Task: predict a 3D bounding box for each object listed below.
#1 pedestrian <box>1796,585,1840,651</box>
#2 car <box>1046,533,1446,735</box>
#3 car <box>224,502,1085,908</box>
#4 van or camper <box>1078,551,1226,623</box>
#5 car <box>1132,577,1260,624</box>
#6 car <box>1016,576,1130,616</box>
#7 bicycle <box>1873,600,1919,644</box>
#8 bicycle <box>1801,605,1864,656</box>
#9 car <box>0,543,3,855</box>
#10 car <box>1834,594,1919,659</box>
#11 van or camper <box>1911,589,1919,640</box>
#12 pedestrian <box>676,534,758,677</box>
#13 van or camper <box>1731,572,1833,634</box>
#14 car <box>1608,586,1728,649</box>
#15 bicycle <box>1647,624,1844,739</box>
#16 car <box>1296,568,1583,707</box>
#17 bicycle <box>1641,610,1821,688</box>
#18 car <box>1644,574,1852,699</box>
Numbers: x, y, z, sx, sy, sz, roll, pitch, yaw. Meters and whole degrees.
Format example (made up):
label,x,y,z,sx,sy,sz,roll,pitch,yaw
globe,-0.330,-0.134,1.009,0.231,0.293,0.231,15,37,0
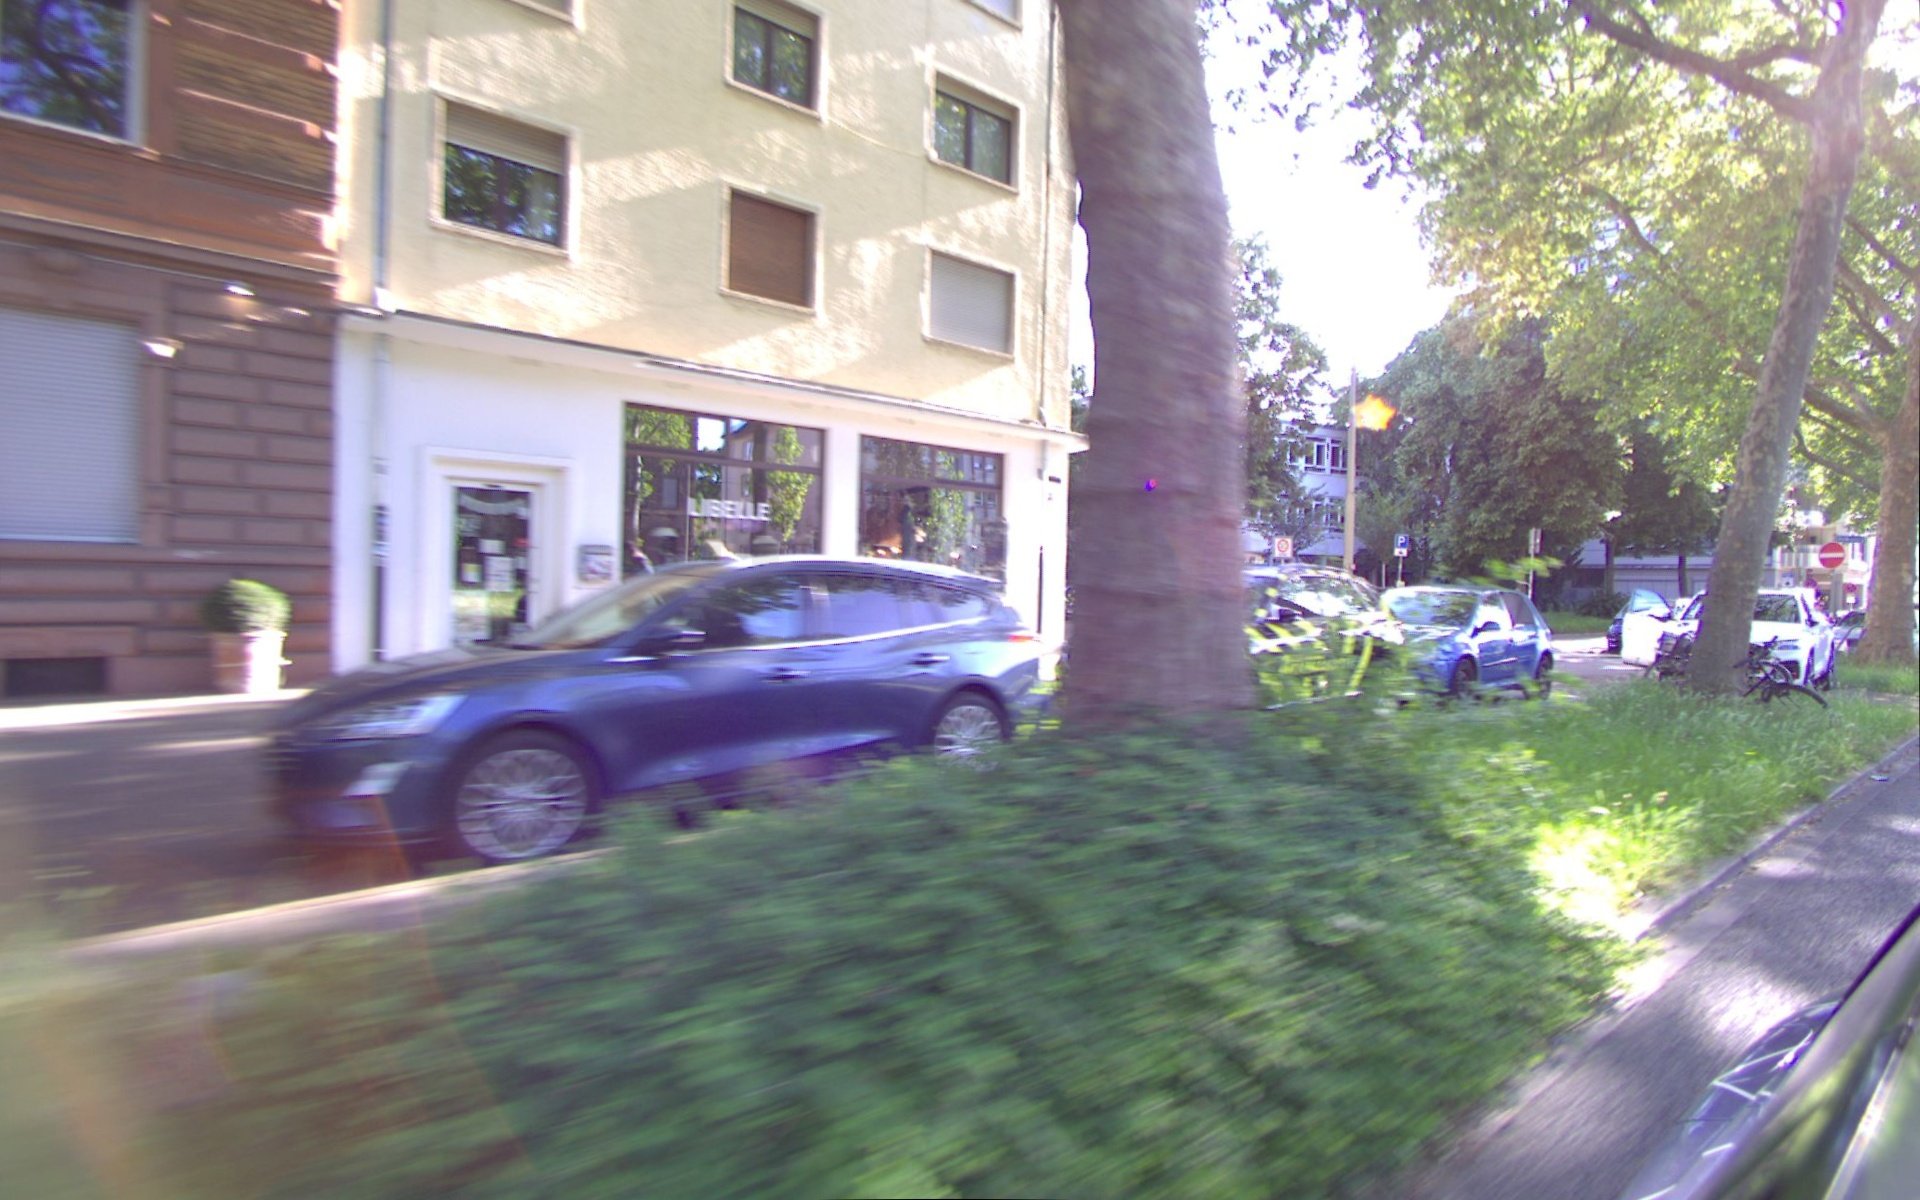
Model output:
label,x,y,z,sx,sy,sz,roll,pitch,yaw
pedestrian,21.514,0.454,25.383,0.700,1.632,0.688,1,-2,-41
car,2.909,0.276,9.787,4.186,1.549,1.698,1,0,-41
car,-1.446,0.413,5.915,4.500,1.526,1.699,1,0,-40
van or camper,7.581,-0.501,39.815,5.472,2.669,2.158,0,1,-25
car,8.741,0.006,37.418,4.299,1.648,2.003,0,1,-26
car,4.994,-0.170,44.739,4.647,1.690,2.003,0,1,-26
bicycle,25.741,0.595,26.943,0.665,1.138,2.073,0,1,-41
bicycle,17.120,0.578,19.848,2.127,0.937,0.640,0,1,-41
car,-5.394,0.443,2.624,4.119,1.425,1.836,0,-1,-41
car,22.571,0.586,24.277,4.938,1.415,1.756,0,1,-41
van or camper,30.495,0.467,30.954,1.494,1.608,2.808,1,1,32
pedestrian,-3.070,0.058,12.768,0.711,1.726,0.797,1,1,-40
van or camper,33.245,0.083,40.880,5.722,2.315,2.295,0,1,-42
car,21.677,0.485,30.916,5.077,1.763,1.823,0,1,-41
bicycle,8.320,0.826,10.790,0.396,1.072,1.599,0,1,-33
car,6.145,0.410,12.749,4.186,1.470,1.717,1,0,-41
bicycle,10.003,0.619,13.179,1.734,0.939,0.652,1,1,9
car,12.440,0.473,15.843,4.744,1.656,1.905,0,1,-44
